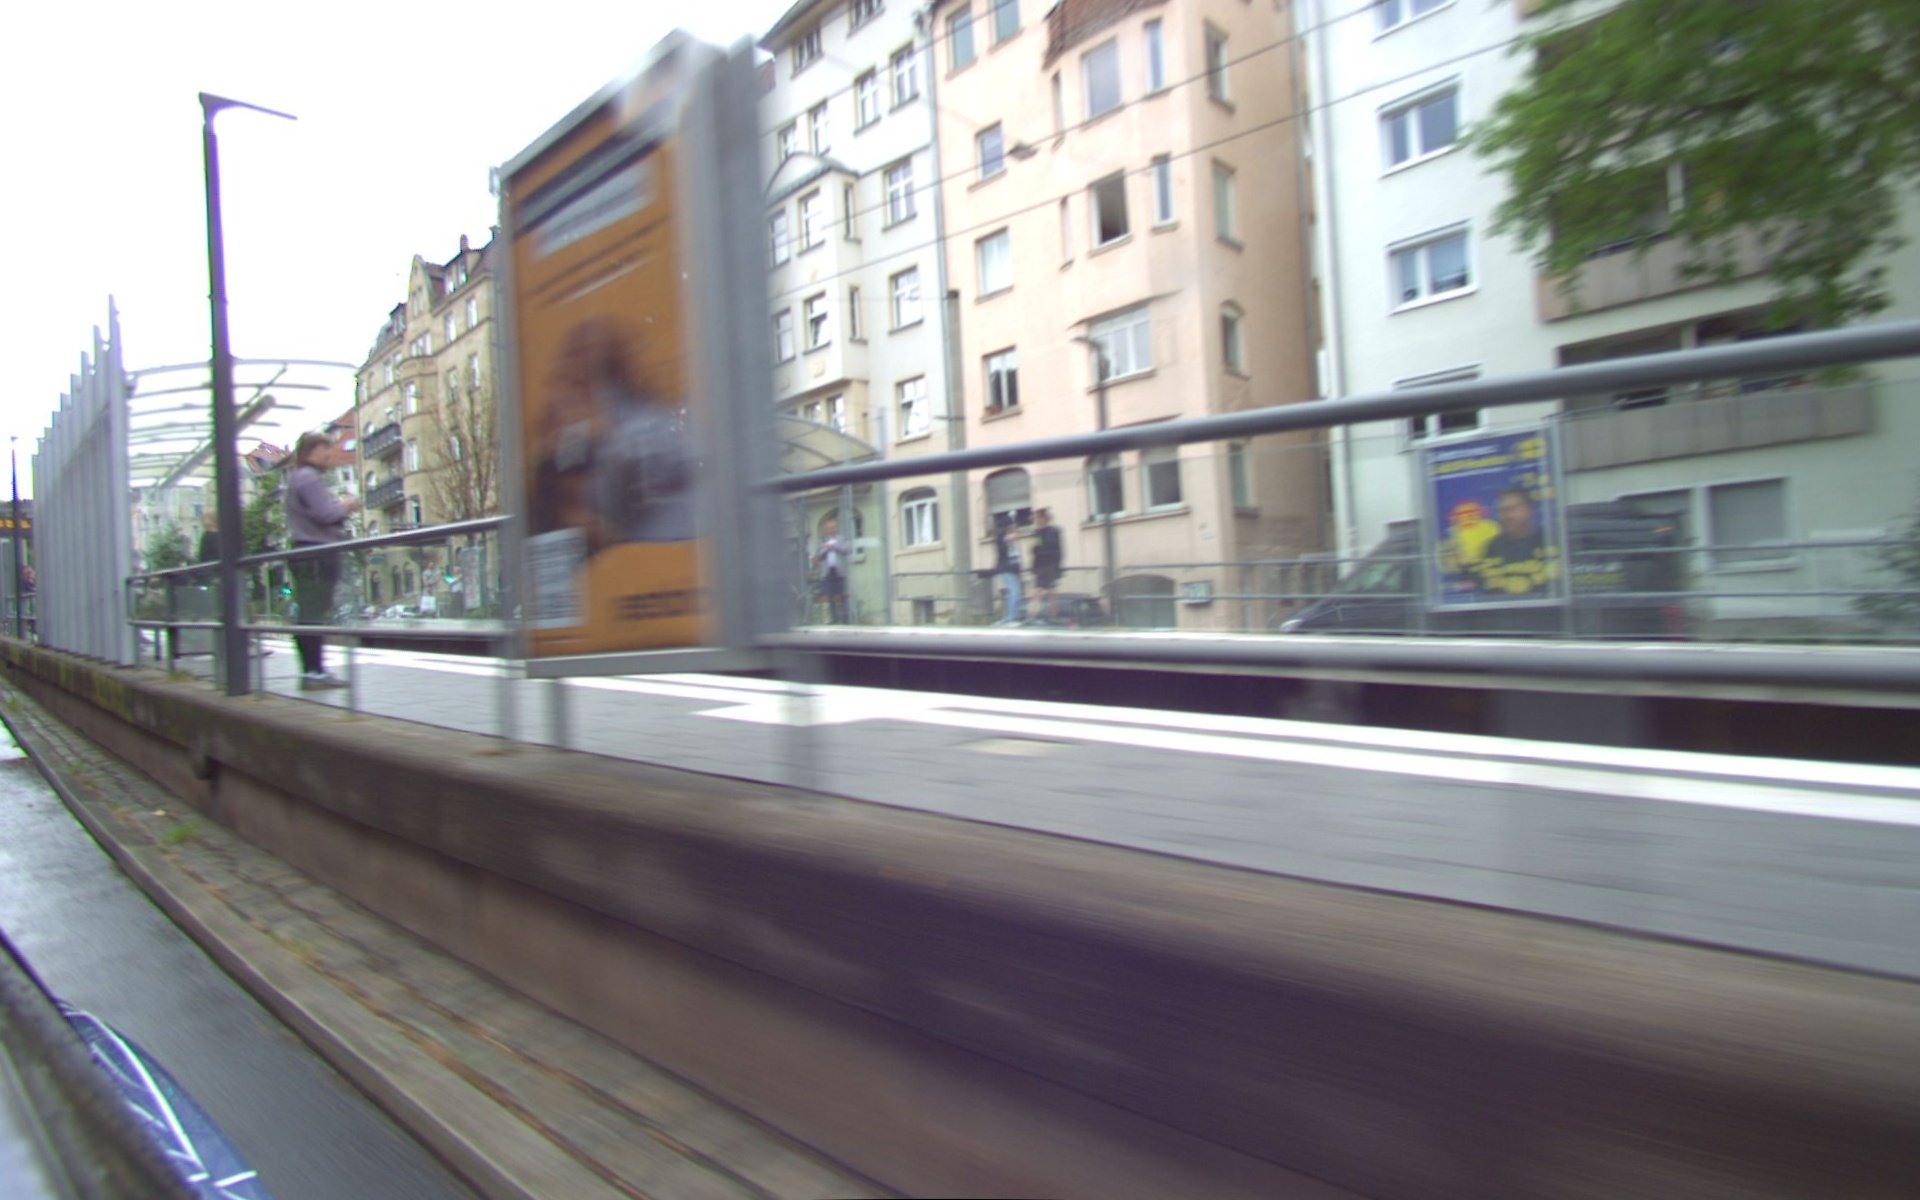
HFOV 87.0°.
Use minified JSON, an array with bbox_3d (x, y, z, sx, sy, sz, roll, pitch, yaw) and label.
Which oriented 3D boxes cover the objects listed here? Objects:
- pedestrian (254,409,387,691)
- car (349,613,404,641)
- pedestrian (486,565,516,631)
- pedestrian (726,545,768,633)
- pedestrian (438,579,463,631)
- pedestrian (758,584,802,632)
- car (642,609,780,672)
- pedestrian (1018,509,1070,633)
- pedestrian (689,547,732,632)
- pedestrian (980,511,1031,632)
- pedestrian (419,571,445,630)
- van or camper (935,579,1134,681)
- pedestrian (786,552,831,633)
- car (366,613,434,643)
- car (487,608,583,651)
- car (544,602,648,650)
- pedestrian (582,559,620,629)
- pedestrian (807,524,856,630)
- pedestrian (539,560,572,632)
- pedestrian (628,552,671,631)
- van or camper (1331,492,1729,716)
[{"bbox_3d":[-4.405,-0.322,6.973,0.660,1.821,0.583,-1,0,43],"label":"pedestrian"},{"bbox_3d":[-32.433,1.498,56.203,4.176,1.453,1.612,-2,-1,45],"label":"car"},{"bbox_3d":[-13.197,-0.054,29.065,0.762,1.852,0.510,-1,-2,44],"label":"pedestrian"},{"bbox_3d":[-4.156,-0.207,19.735,0.614,1.678,0.544,-1,-2,44],"label":"pedestrian"},{"bbox_3d":[-16.190,0.159,32.155,0.563,1.617,0.510,-1,-2,44],"label":"pedestrian"},{"bbox_3d":[-3.356,0.156,18.887,0.614,0.878,0.544,-1,-2,44],"label":"pedestrian"},{"bbox_3d":[-7.652,1.172,30.848,1.970,1.745,4.818,1,-1,-43],"label":"car"},{"bbox_3d":[1.219,-0.406,14.688,0.563,1.754,0.477,-1,-2,44],"label":"pedestrian"},{"bbox_3d":[-5.038,-0.195,20.444,0.591,1.678,0.587,-1,-2,44],"label":"pedestrian"},{"bbox_3d":[0.672,-0.403,14.968,0.563,1.754,0.477,-1,-2,44],"label":"pedestrian"},{"bbox_3d":[-16.848,0.035,32.303,0.599,1.864,0.555,-1,-2,44],"label":"pedestrian"},{"bbox_3d":[1.563,0.660,22.181,4.000,2.029,1.971,-2,-2,43],"label":"van or camper"},{"bbox_3d":[-2.732,-0.129,18.246,0.614,1.424,0.544,-1,-2,44],"label":"pedestrian"},{"bbox_3d":[-29.095,1.431,52.531,4.869,1.453,1.698,-1,-1,43],"label":"car"},{"bbox_3d":[-17.380,1.153,41.290,4.535,1.544,1.971,0,3,45],"label":"car"},{"bbox_3d":[-13.440,0.968,37.265,1.901,1.635,4.538,1,-2,-44],"label":"car"},{"bbox_3d":[-8.816,-0.132,24.852,0.762,1.678,0.587,-1,-2,44],"label":"pedestrian"},{"bbox_3d":[-2.161,-0.371,17.035,0.614,1.754,0.544,-1,-2,44],"label":"pedestrian"},{"bbox_3d":[-10.631,-0.098,26.626,0.762,1.852,0.510,-1,-2,44],"label":"pedestrian"},{"bbox_3d":[-6.768,-0.167,22.035,0.762,1.678,0.587,-1,-2,44],"label":"pedestrian"},{"bbox_3d":[8.326,0.122,15.069,4.858,2.826,1.974,-2,-2,39],"label":"van or camper"}]
